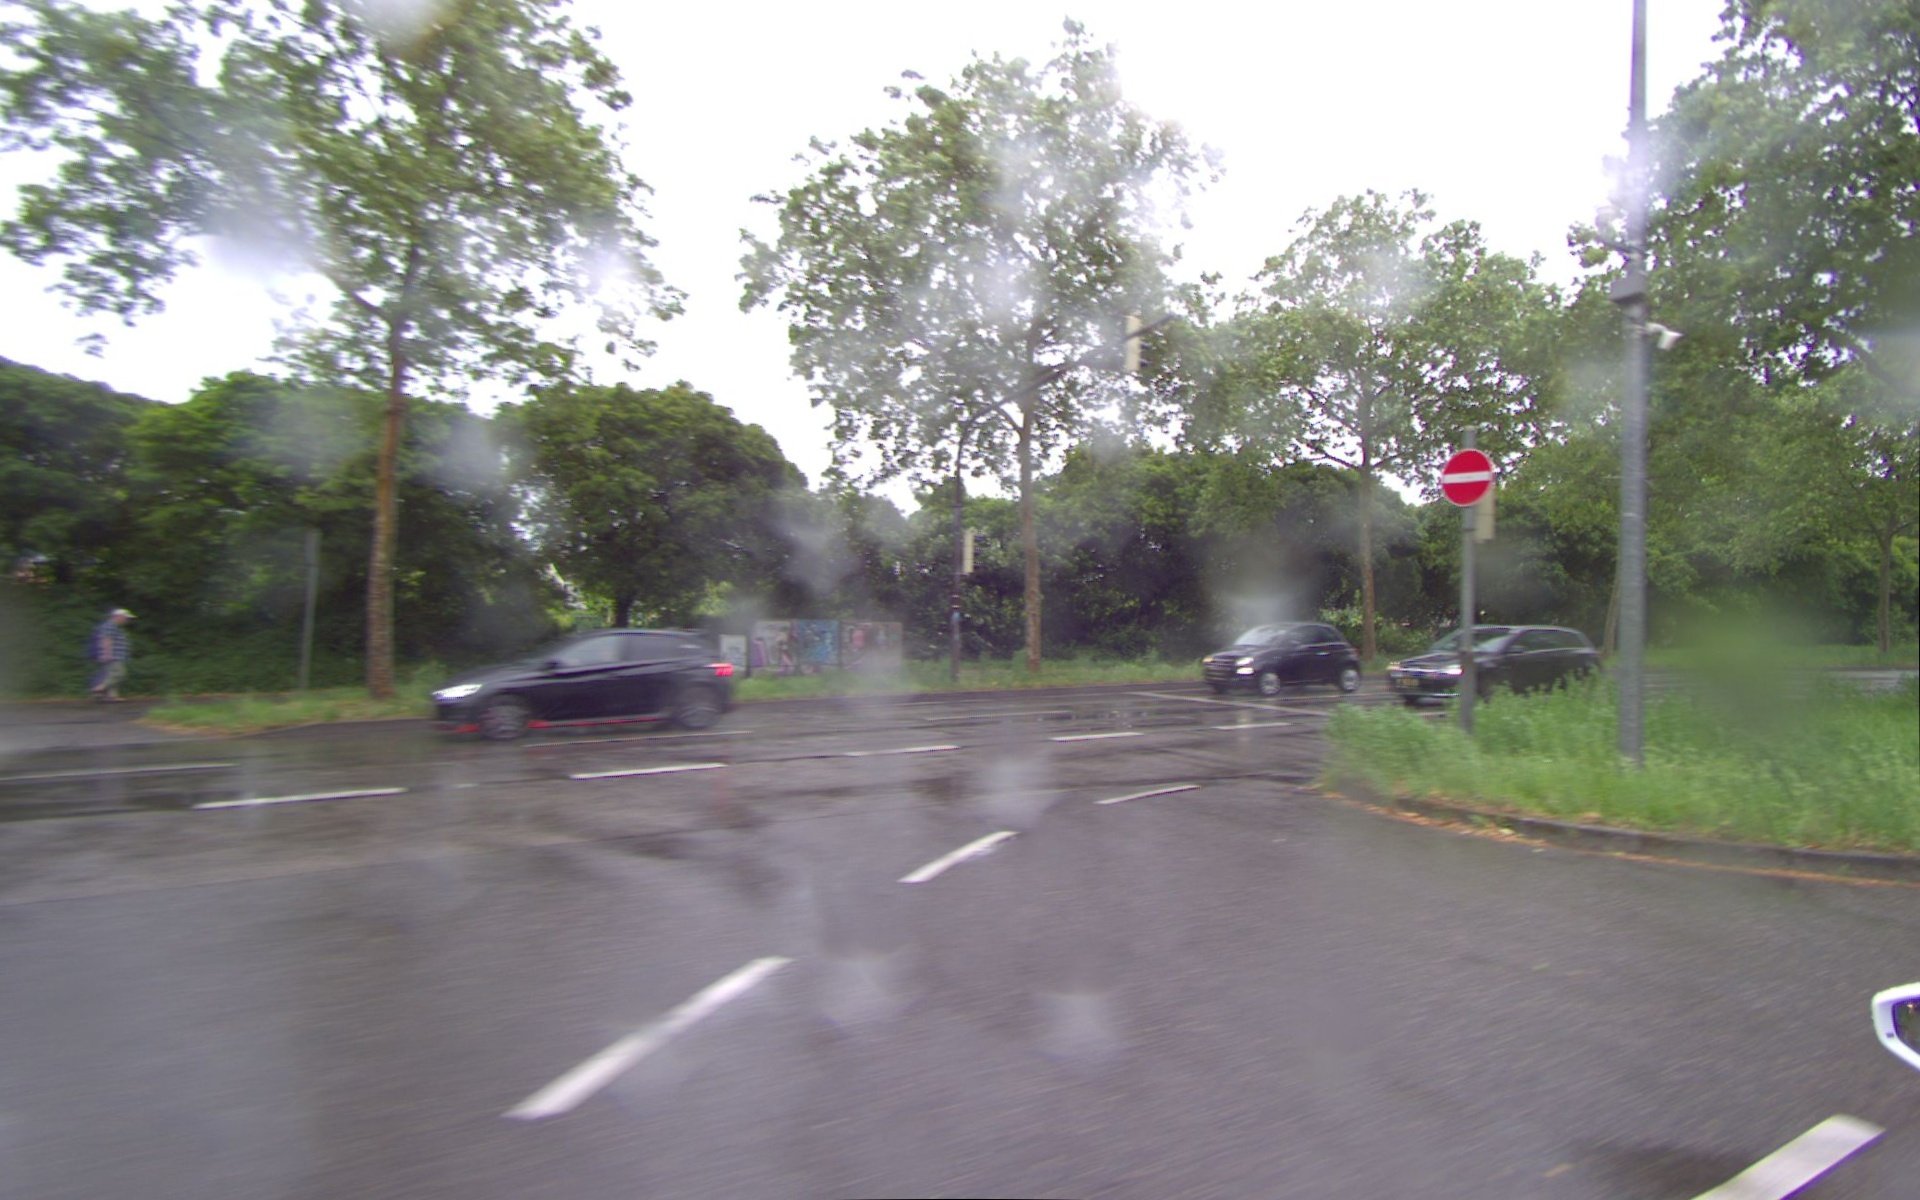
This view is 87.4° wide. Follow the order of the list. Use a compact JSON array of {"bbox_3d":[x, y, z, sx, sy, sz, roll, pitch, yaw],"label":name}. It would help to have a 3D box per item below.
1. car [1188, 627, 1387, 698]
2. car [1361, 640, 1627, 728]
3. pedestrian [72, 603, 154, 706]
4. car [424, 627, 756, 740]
[{"bbox_3d":[7.045,1.304,21.521,4.207,1.391,1.581,2,-2,-27],"label":"car"},{"bbox_3d":[10.232,1.528,19.199,4.925,1.471,1.997,2,-2,-26],"label":"car"},{"bbox_3d":[-14.545,0.923,17.282,0.889,1.696,0.827,1,-1,-29],"label":"pedestrian"},{"bbox_3d":[-5.196,1.116,14.278,4.212,1.391,1.580,2,-2,-30],"label":"car"}]
